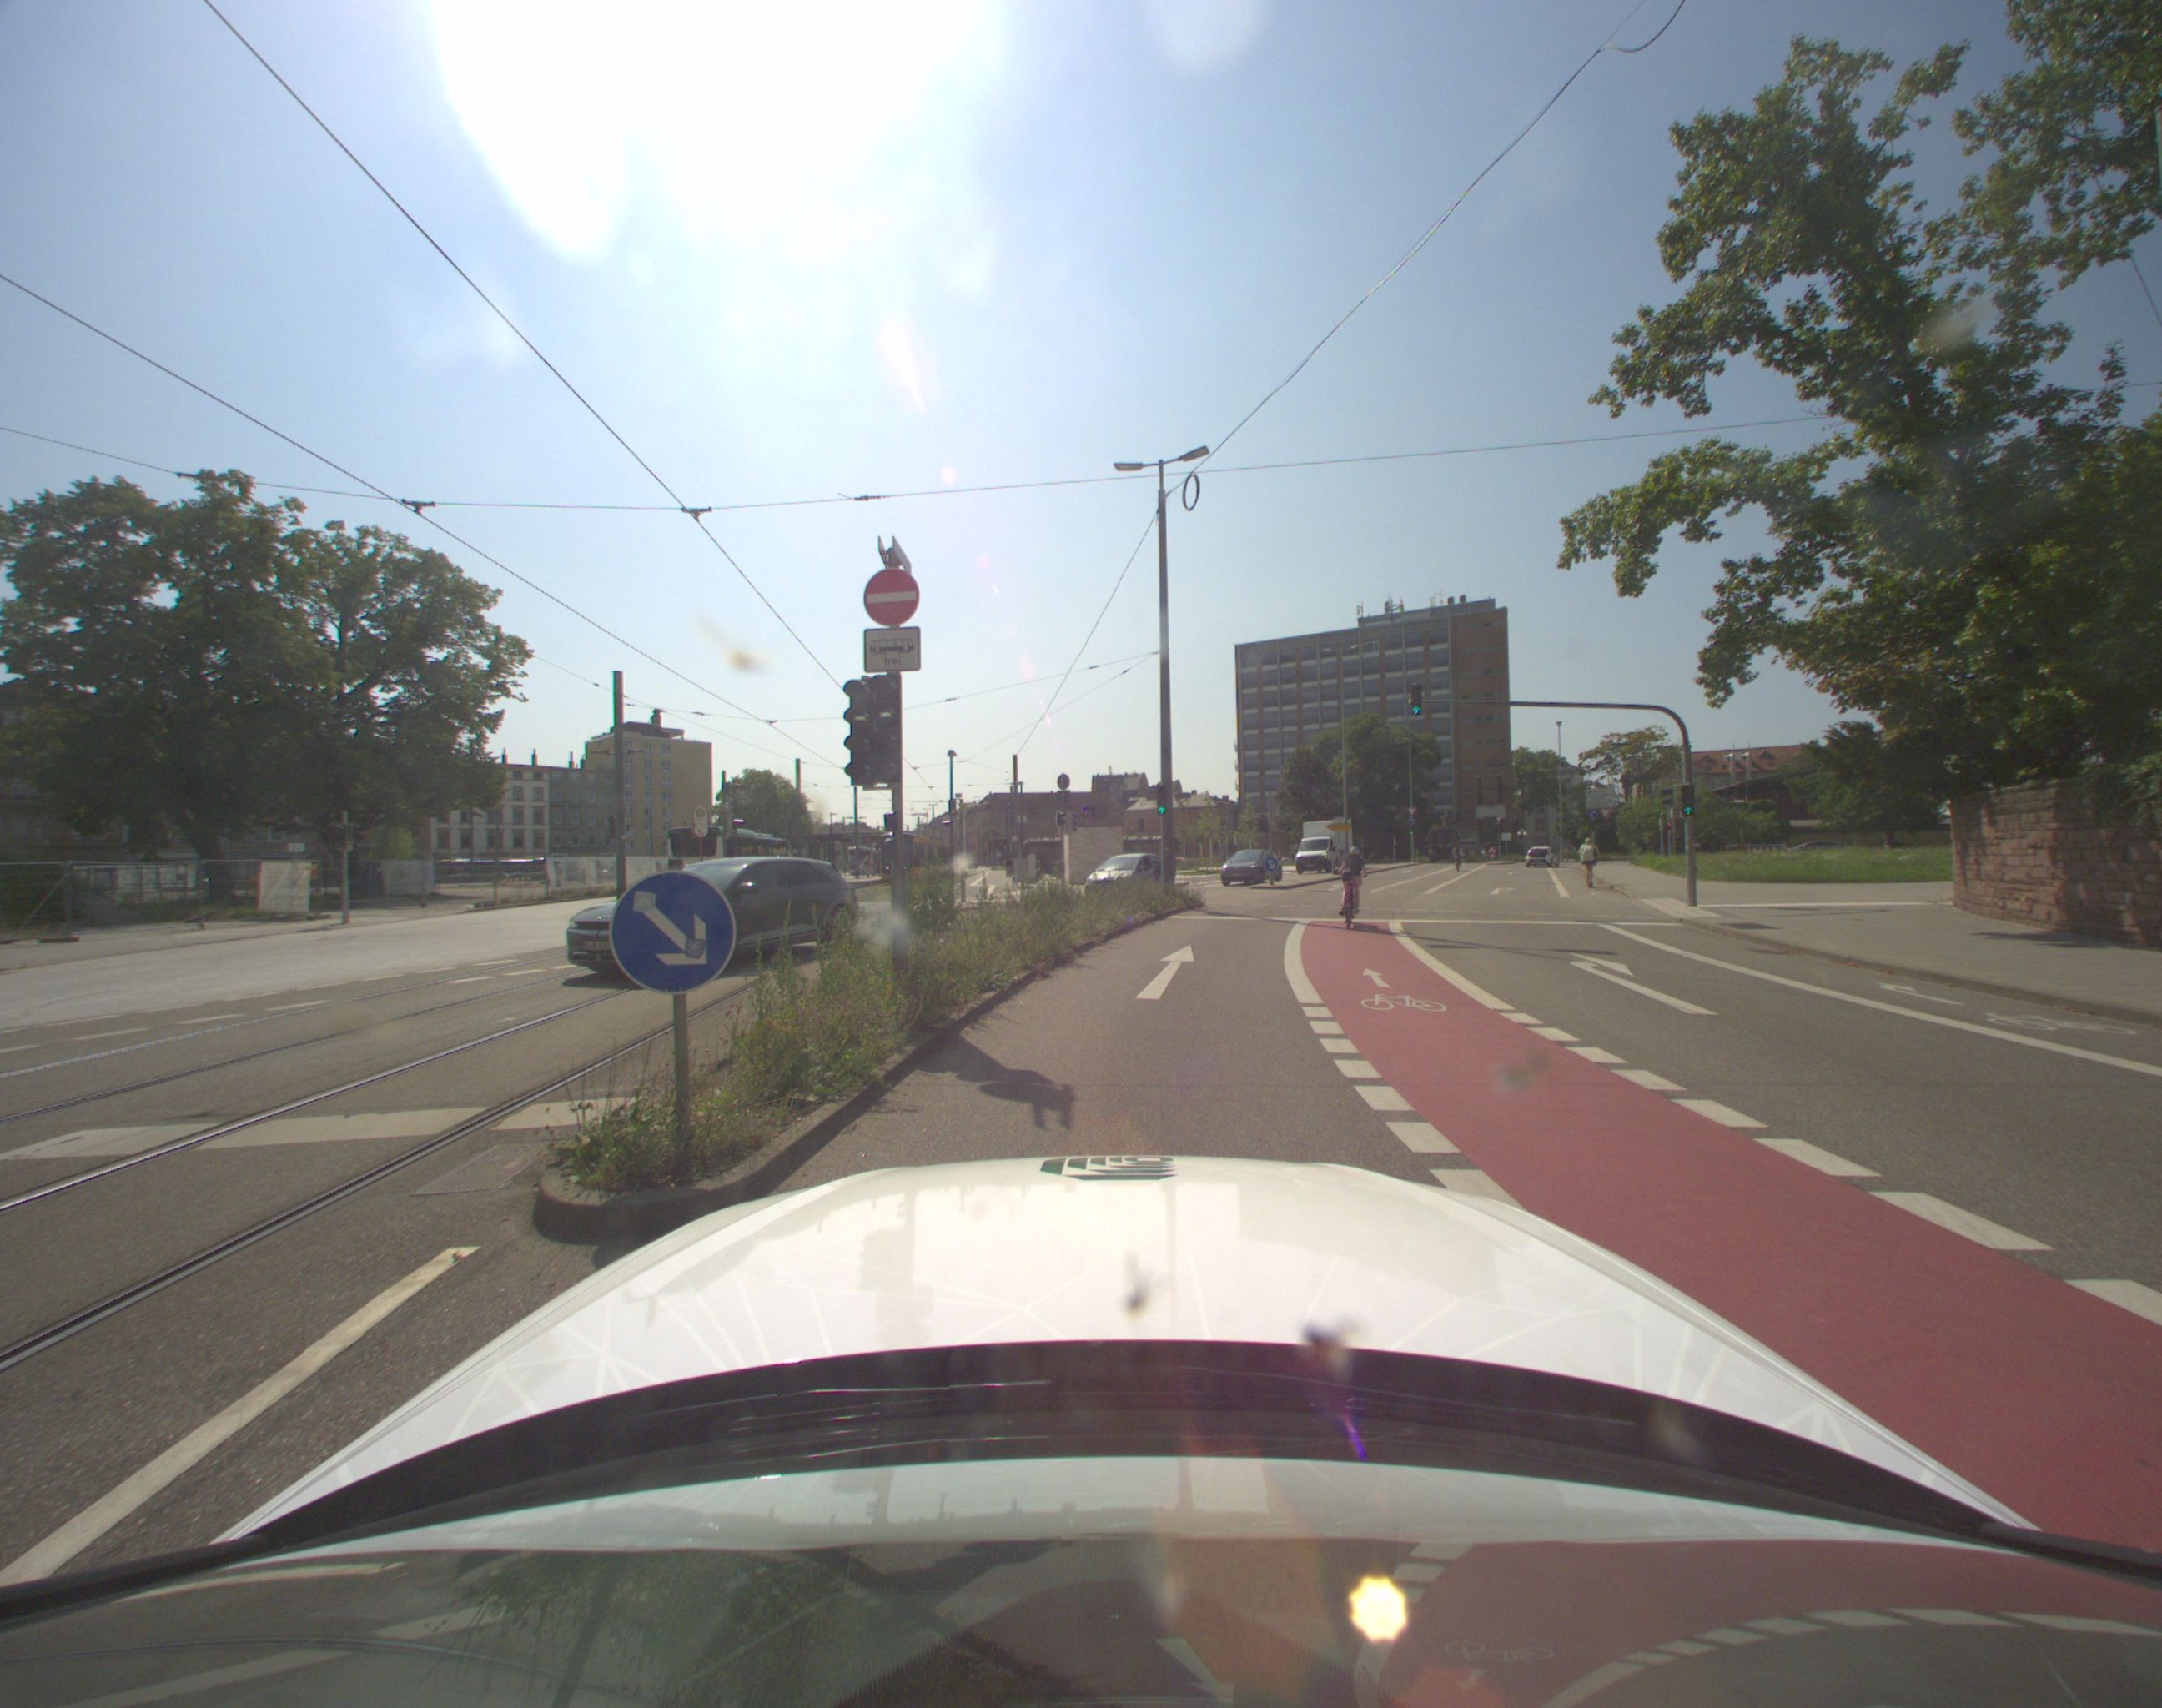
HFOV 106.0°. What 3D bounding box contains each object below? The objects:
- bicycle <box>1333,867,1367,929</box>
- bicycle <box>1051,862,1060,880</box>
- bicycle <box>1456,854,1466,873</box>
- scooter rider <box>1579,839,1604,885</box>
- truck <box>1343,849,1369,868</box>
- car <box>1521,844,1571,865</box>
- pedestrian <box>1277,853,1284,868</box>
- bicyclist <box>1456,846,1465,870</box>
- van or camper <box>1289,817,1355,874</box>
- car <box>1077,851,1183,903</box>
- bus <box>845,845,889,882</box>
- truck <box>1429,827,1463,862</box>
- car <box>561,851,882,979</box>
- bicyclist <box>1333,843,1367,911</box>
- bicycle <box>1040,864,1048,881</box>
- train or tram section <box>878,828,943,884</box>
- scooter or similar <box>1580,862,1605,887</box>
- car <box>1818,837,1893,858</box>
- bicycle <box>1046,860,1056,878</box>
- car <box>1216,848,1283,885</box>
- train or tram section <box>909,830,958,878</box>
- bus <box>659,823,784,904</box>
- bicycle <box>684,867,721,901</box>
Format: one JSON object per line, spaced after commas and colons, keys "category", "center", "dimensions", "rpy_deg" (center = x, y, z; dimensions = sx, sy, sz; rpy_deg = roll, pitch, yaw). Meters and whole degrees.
{"category": "bicycle", "center": [5.460, 0.861, 16.564], "dimensions": [0.599, 1.163, 1.819], "rpy_deg": [-1, 0, 18]}
{"category": "bicycle", "center": [-1.553, 1.012, 49.345], "dimensions": [0.463, 1.100, 1.420], "rpy_deg": [-1, -1, -4]}
{"category": "bicycle", "center": [23.133, 0.579, 49.607], "dimensions": [0.440, 1.117, 1.455], "rpy_deg": [-2, -1, 28]}
{"category": "scooter rider", "center": [19.795, 0.311, 31.552], "dimensions": [0.754, 1.775, 0.558], "rpy_deg": [-2, -1, 34]}
{"category": "truck", "center": [23.914, 0.375, 70.834], "dimensions": [1.540, 1.504, 3.642], "rpy_deg": [-2, -1, 28]}
{"category": "car", "center": [33.059, 0.038, 57.849], "dimensions": [4.021, 1.391, 1.826], "rpy_deg": [-1, -1, -41]}
{"category": "pedestrian", "center": [21.760, 0.703, 88.826], "dimensions": [0.531, 1.552, 0.414], "rpy_deg": [-1, -1, -17]}
{"category": "bicyclist", "center": [23.163, 0.227, 49.685], "dimensions": [0.445, 1.421, 0.499], "rpy_deg": [-2, -1, 28]}
{"category": "van or camper", "center": [15.471, -0.524, 51.885], "dimensions": [2.377, 3.306, 7.235], "rpy_deg": [-2, -1, 30]}
{"category": "car", "center": [1.699, 0.694, 26.485], "dimensions": [1.635, 1.530, 4.352], "rpy_deg": [-2, -1, 30]}
{"category": "bus", "center": [-23.091, 1.018, 88.566], "dimensions": [2.704, 3.727, 10.403], "rpy_deg": [-1, -1, -4]}
{"category": "truck", "center": [32.622, -0.791, 72.816], "dimensions": [2.672, 2.990, 6.000], "rpy_deg": [-1, -1, 24]}
{"category": "car", "center": [-5.257, 0.780, 12.758], "dimensions": [1.757, 1.610, 4.698], "rpy_deg": [-2, 0, 21]}
{"category": "bicyclist", "center": [5.442, 0.461, 16.516], "dimensions": [0.598, 1.335, 0.662], "rpy_deg": [-1, -1, 16]}
{"category": "bicycle", "center": [-2.289, 1.106, 49.949], "dimensions": [0.463, 1.033, 1.546], "rpy_deg": [-1, -1, -4]}
{"category": "train or tram section", "center": [-12.317, 0.216, 60.567], "dimensions": [2.852, 3.548, 17.705], "rpy_deg": [-1, -1, -6]}
{"category": "scooter or similar", "center": [19.779, 0.776, 31.489], "dimensions": [0.764, 0.926, 1.631], "rpy_deg": [-1, 0, 33]}
{"category": "car", "center": [60.617, -0.494, 63.842], "dimensions": [3.948, 1.565, 1.835], "rpy_deg": [-2, -1, 32]}
{"category": "bicycle", "center": [-2.155, 1.079, 58.779], "dimensions": [0.604, 1.253, 2.618], "rpy_deg": [-1, 0, -4]}
{"category": "car", "center": [7.598, 0.545, 36.368], "dimensions": [1.680, 1.530, 4.209], "rpy_deg": [-2, 0, 29]}
{"category": "train or tram section", "center": [-13.999, 0.097, 78.981], "dimensions": [2.881, 4.068, 19.106], "rpy_deg": [-1, -1, -5]}
{"category": "bus", "center": [-18.705, 0.491, 43.293], "dimensions": [2.954, 3.775, 10.573], "rpy_deg": [-1, -1, -6]}
{"category": "bicycle", "center": [-14.127, 1.095, 30.450], "dimensions": [0.605, 1.222, 1.704], "rpy_deg": [-1, 0, -1]}
